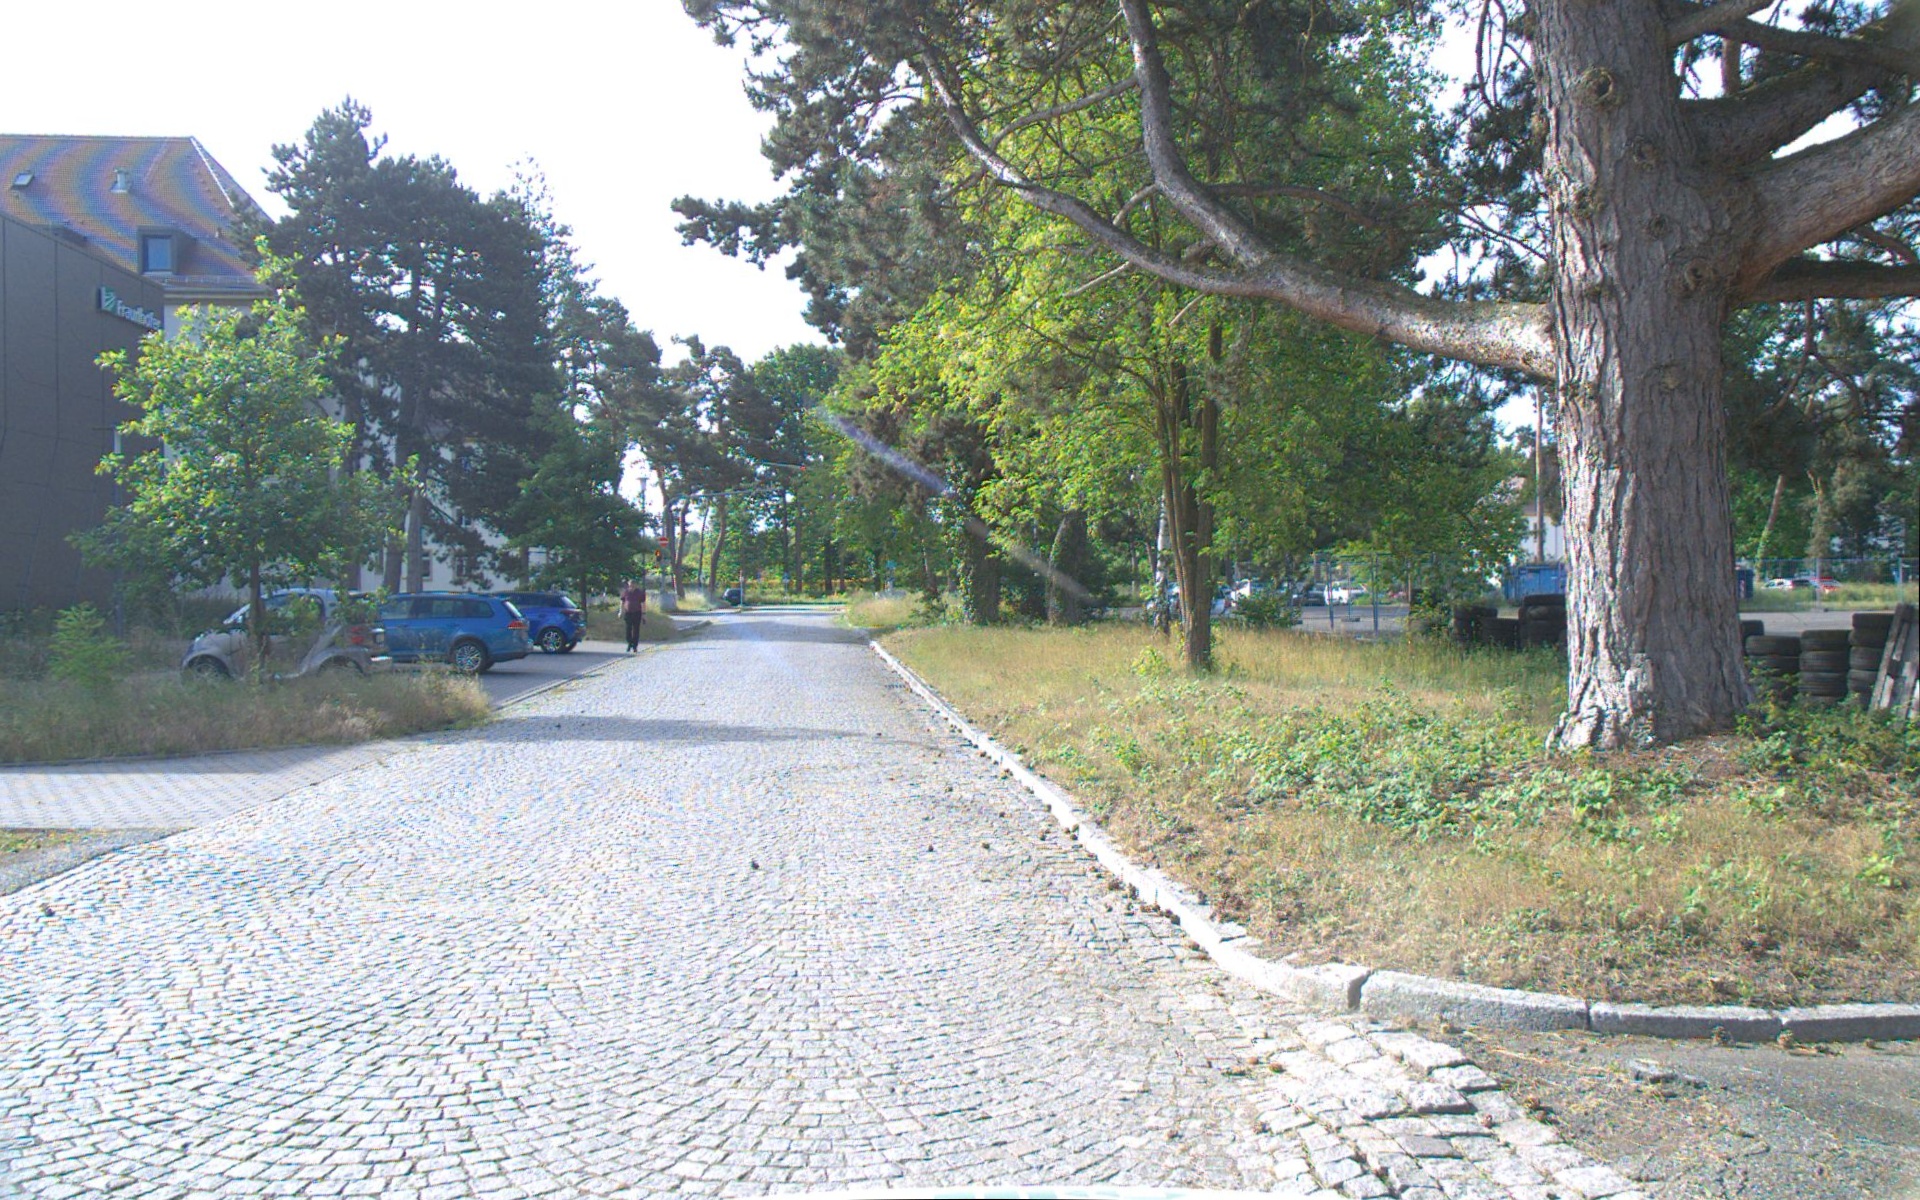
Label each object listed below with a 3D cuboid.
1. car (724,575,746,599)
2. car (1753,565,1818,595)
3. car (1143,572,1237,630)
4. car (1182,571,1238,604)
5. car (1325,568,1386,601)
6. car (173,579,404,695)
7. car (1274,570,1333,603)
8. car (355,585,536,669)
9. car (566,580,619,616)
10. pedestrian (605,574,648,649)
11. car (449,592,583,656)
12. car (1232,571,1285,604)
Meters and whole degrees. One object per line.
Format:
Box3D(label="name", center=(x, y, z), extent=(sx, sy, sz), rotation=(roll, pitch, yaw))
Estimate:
Box3D(label="car", center=(-19.835, -1.124, 146.059), extent=(1.664, 2.049, 3.996), rotation=(-1, 1, -5))
Box3D(label="car", center=(50.325, -1.229, 100.902), extent=(1.953, 1.780, 4.000), rotation=(-1, 1, 0))
Box3D(label="car", center=(6.519, 0.001, 47.184), extent=(1.849, 1.568, 3.997), rotation=(-1, 1, -4))
Box3D(label="car", center=(12.860, -0.654, 85.378), extent=(1.955, 1.646, 3.996), rotation=(-1, 1, -5))
Box3D(label="car", center=(20.751, -0.808, 87.014), extent=(1.955, 1.646, 3.996), rotation=(-1, 1, -5))
Box3D(label="car", center=(-9.568, 0.509, 23.700), extent=(2.704, 1.576, 1.425), rotation=(-1, 0, -2))
Box3D(label="car", center=(17.915, -0.713, 86.426), extent=(1.955, 1.646, 3.996), rotation=(-1, 1, -5))
Box3D(label="car", center=(-9.610, 0.497, 31.046), extent=(3.028, 1.482, 1.488), rotation=(2, 0, -10))
Box3D(label="car", center=(-17.506, -0.133, 78.932), extent=(1.955, 1.646, 3.996), rotation=(-1, 1, -5))
Box3D(label="pedestrian", center=(-8.474, 0.283, 42.005), extent=(0.941, 1.876, 0.950), rotation=(-1, 0, -19))
Box3D(label="car", center=(-10.780, 0.560, 40.298), extent=(3.029, 1.475, 1.488), rotation=(-1, 0, -12))
Box3D(label="car", center=(15.469, -0.678, 85.895), extent=(1.785, 1.646, 3.998), rotation=(-1, 1, -3))
